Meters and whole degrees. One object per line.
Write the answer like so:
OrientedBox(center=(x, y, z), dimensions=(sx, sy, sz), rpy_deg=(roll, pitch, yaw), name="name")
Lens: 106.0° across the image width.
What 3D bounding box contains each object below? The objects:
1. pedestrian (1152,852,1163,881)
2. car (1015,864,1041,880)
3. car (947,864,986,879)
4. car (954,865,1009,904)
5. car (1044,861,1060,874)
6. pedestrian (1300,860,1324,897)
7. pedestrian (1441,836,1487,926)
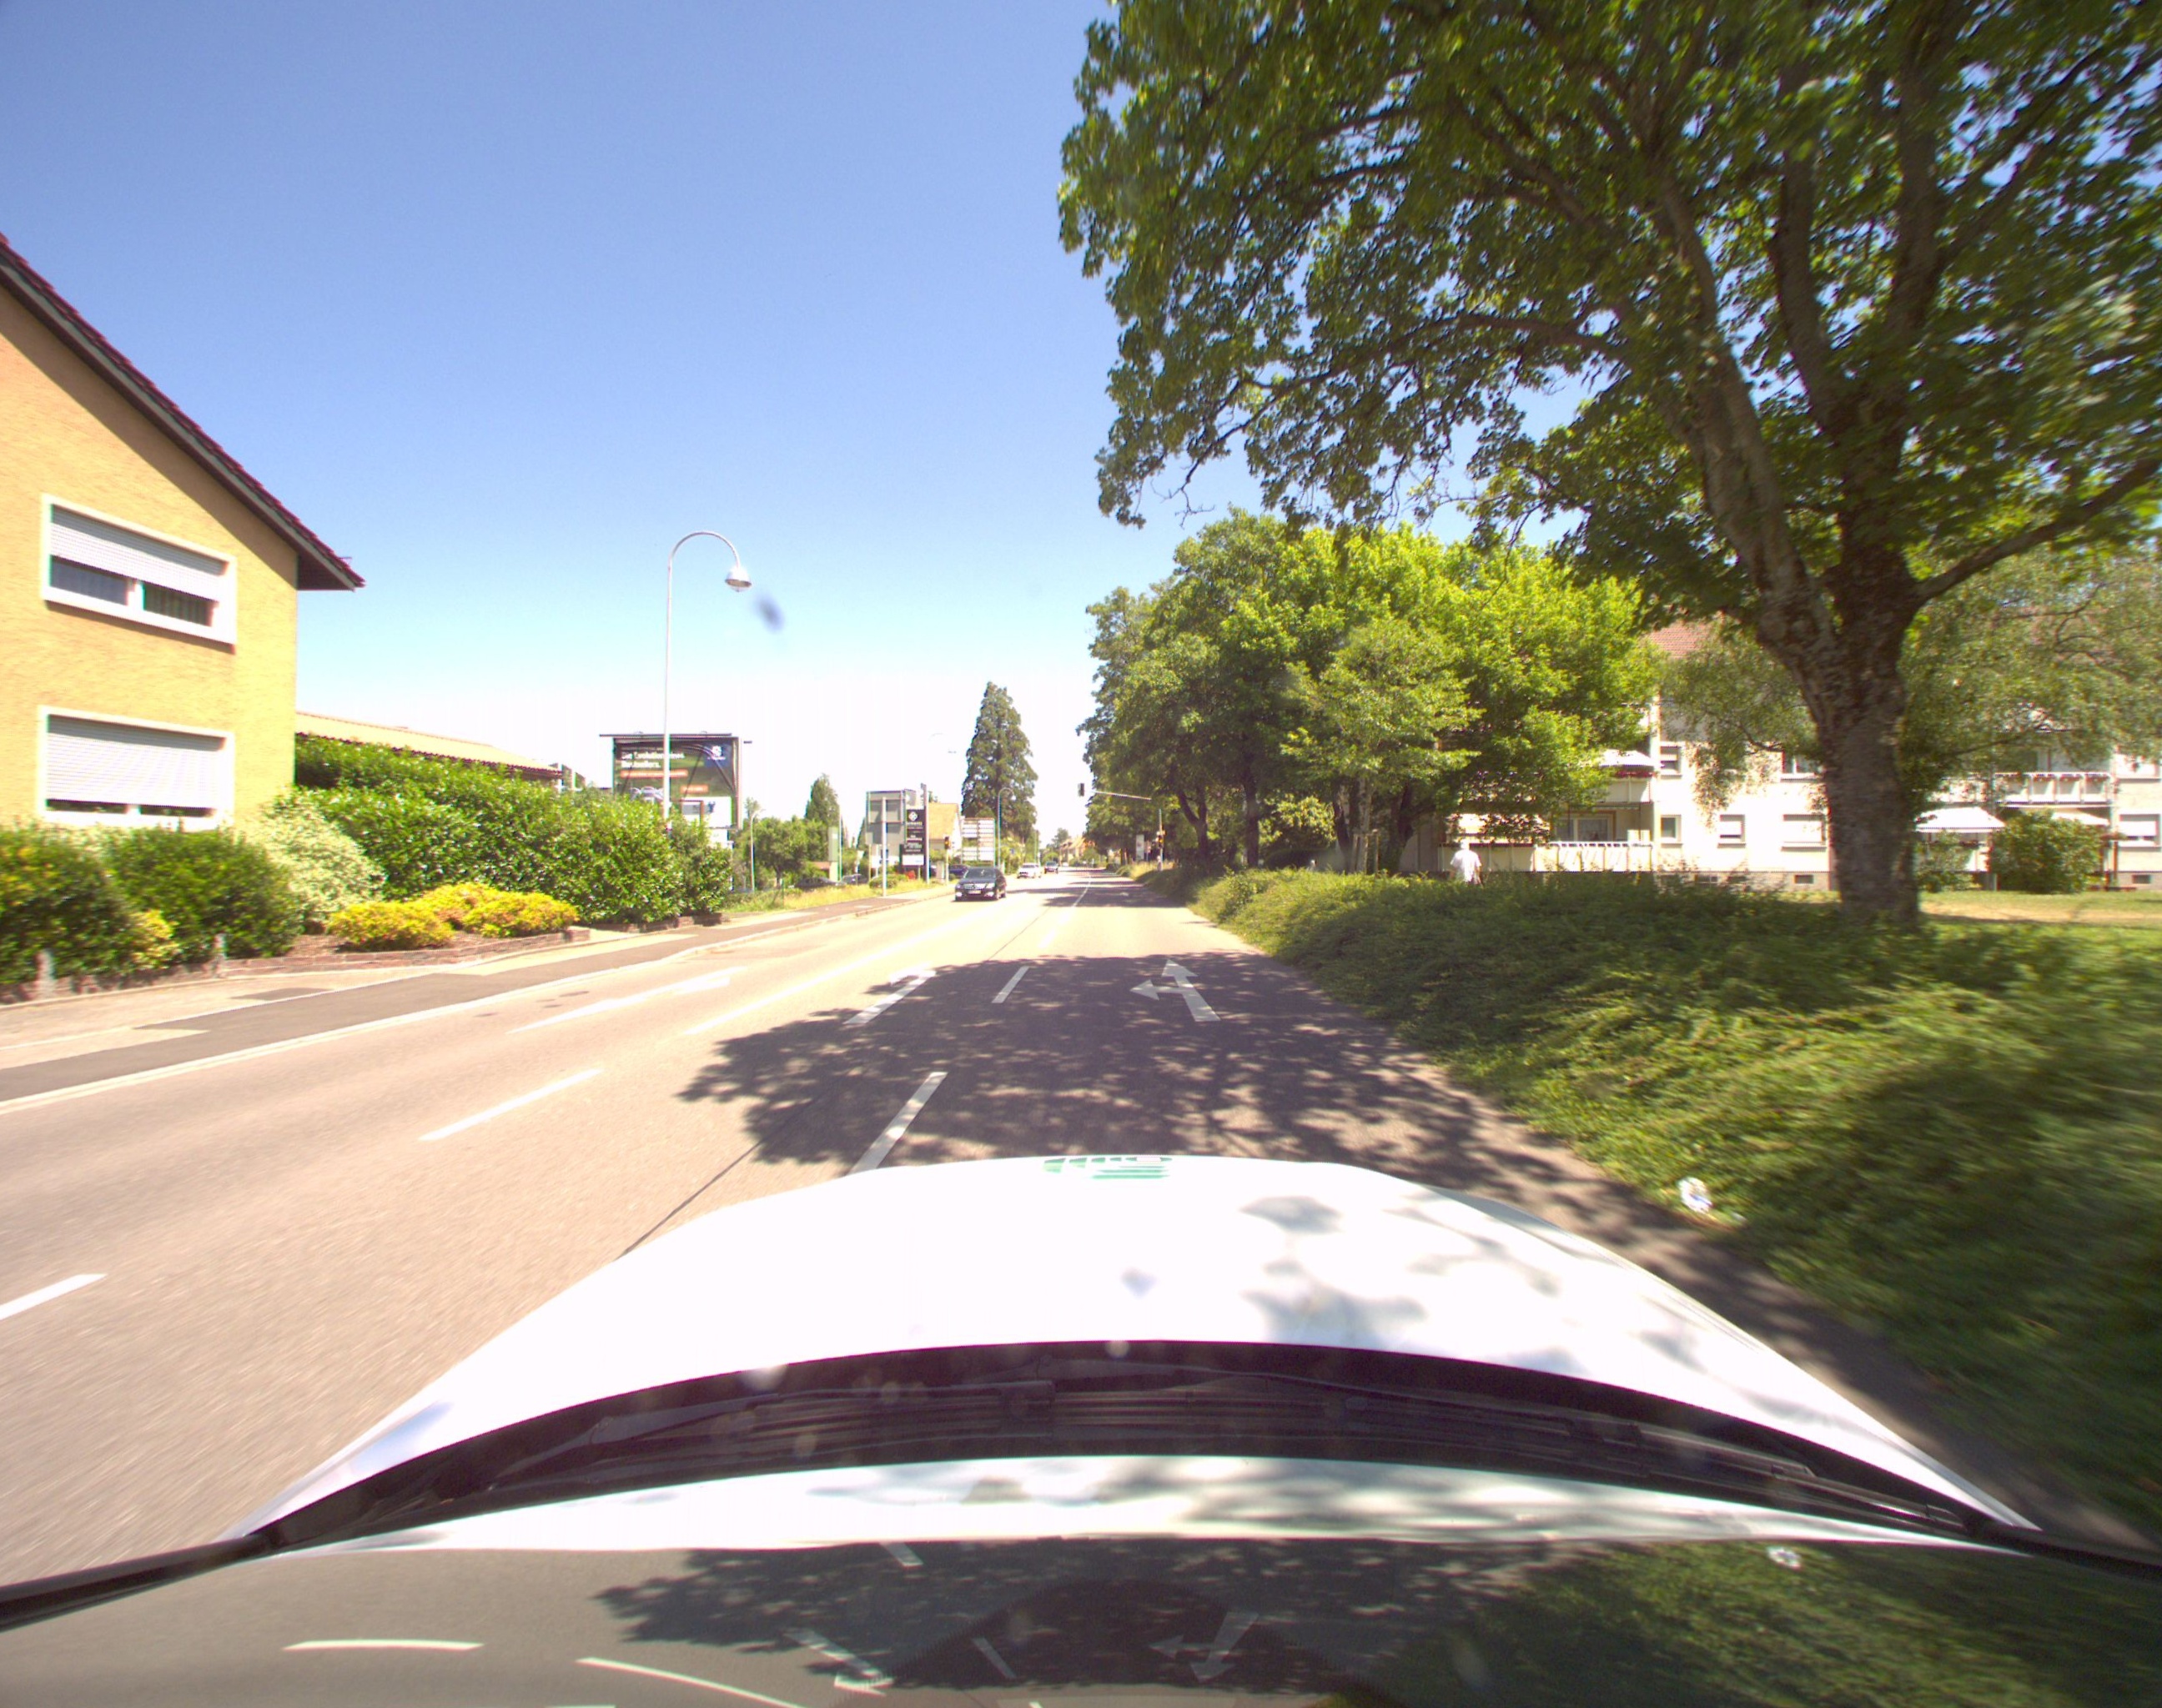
OrientedBox(center=(4.821, 0.787, 51.215), dimensions=(0.612, 1.751, 0.561), rpy_deg=(0, -1, -6), name="pedestrian")
OrientedBox(center=(-5.213, 1.723, 80.506), dimensions=(1.985, 1.487, 4.312), rpy_deg=(-1, -1, 3), name="car")
OrientedBox(center=(-11.126, 1.664, 79.287), dimensions=(3.470, 1.427, 1.604), rpy_deg=(-1, -1, 8), name="car")
OrientedBox(center=(-4.211, 1.265, 35.045), dimensions=(1.703, 1.495, 4.279), rpy_deg=(-1, 0, 2), name="car")
OrientedBox(center=(-3.923, 1.819, 110.336), dimensions=(1.872, 1.718, 4.312), rpy_deg=(-1, 0, 2), name="car")
OrientedBox(center=(8.453, 0.899, 29.816), dimensions=(0.659, 1.335, 0.889), rpy_deg=(-1, -1, 2), name="pedestrian")
OrientedBox(center=(8.332, 0.585, 17.740), dimensions=(0.700, 1.914, 0.661), rpy_deg=(-1, -1, 5), name="pedestrian")
